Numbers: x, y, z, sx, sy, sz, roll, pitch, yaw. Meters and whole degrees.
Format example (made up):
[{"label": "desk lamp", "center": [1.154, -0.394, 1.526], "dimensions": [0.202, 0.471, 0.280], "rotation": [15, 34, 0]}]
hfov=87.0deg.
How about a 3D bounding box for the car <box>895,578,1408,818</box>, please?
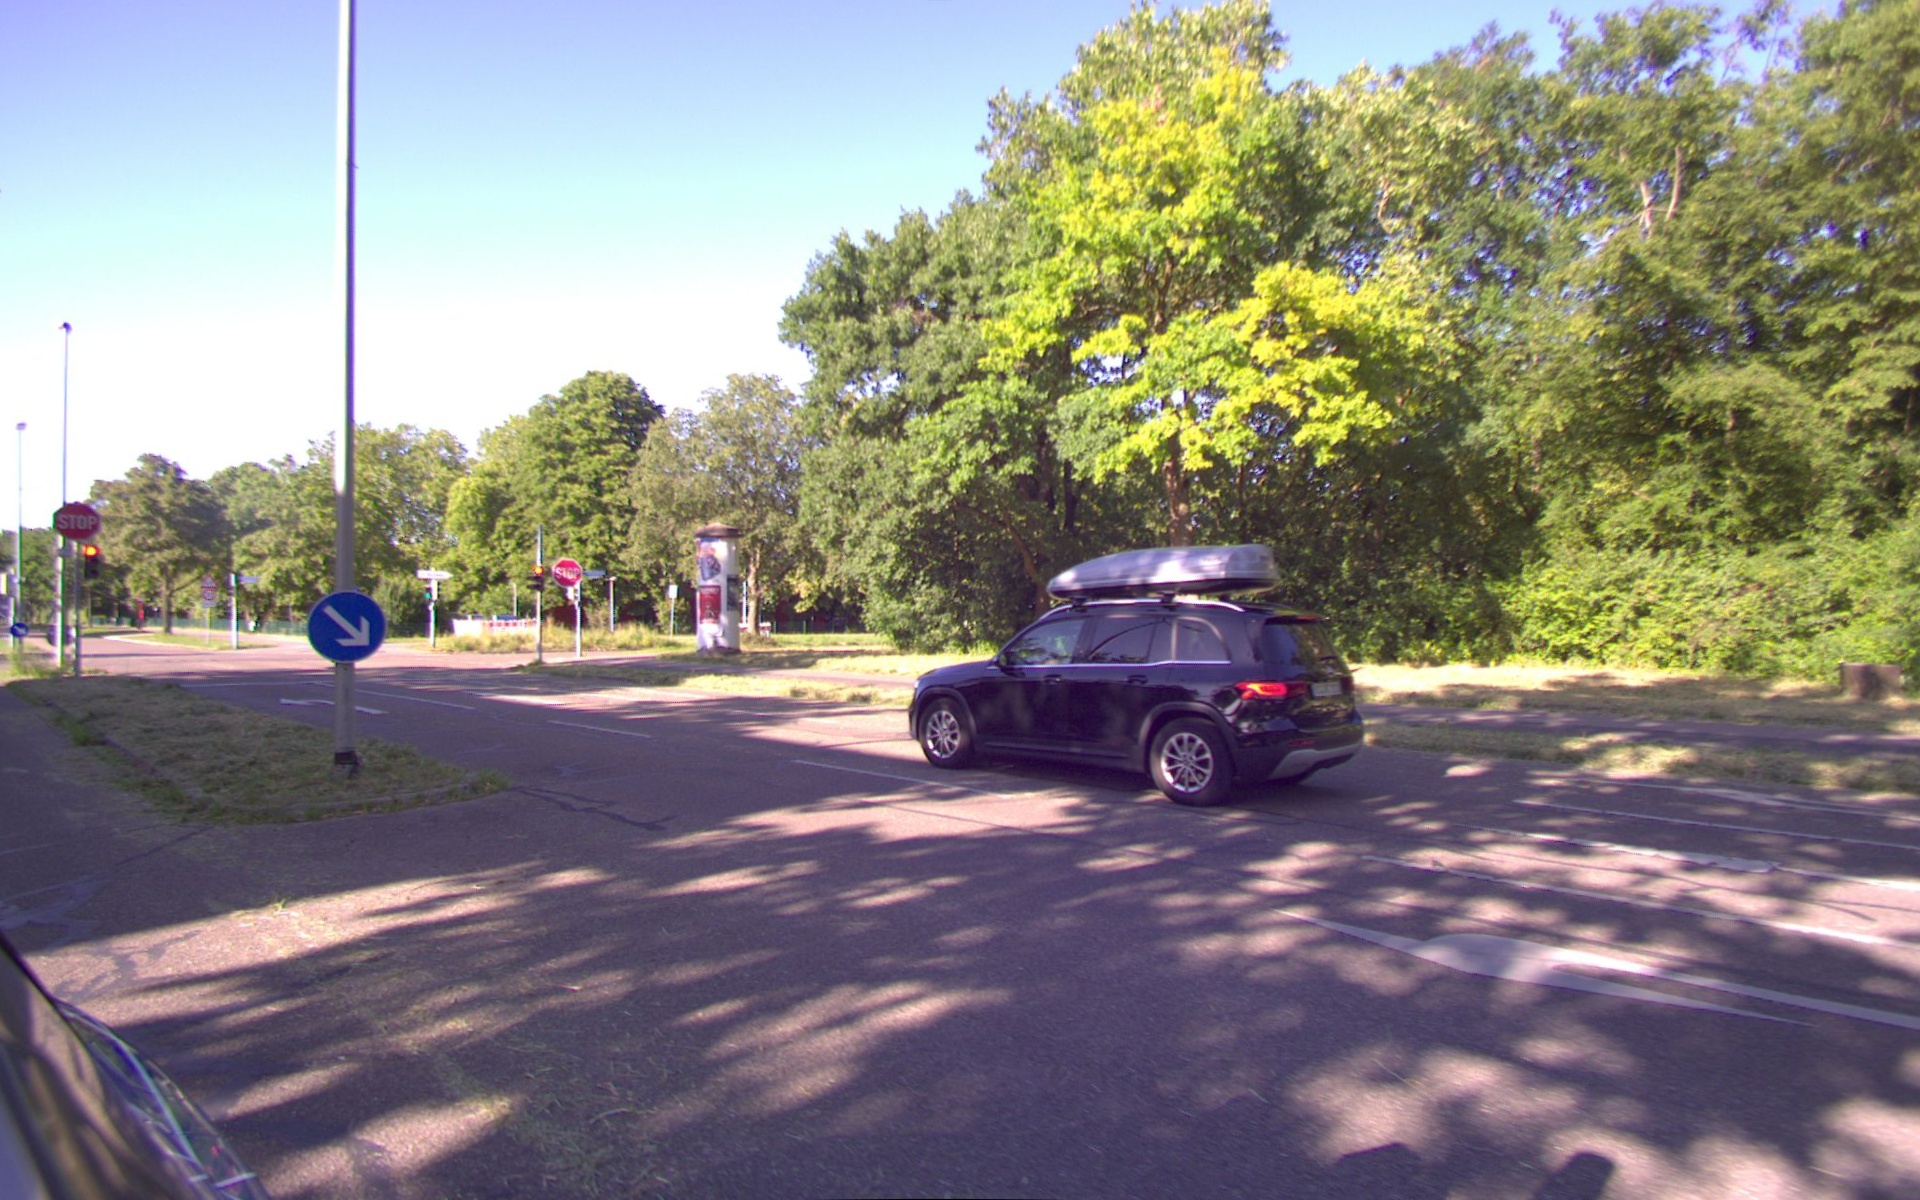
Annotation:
[{"label": "car", "center": [1.570, 0.760, 9.522], "dimensions": [4.506, 1.721, 1.818], "rotation": [-1, -2, 45]}]
